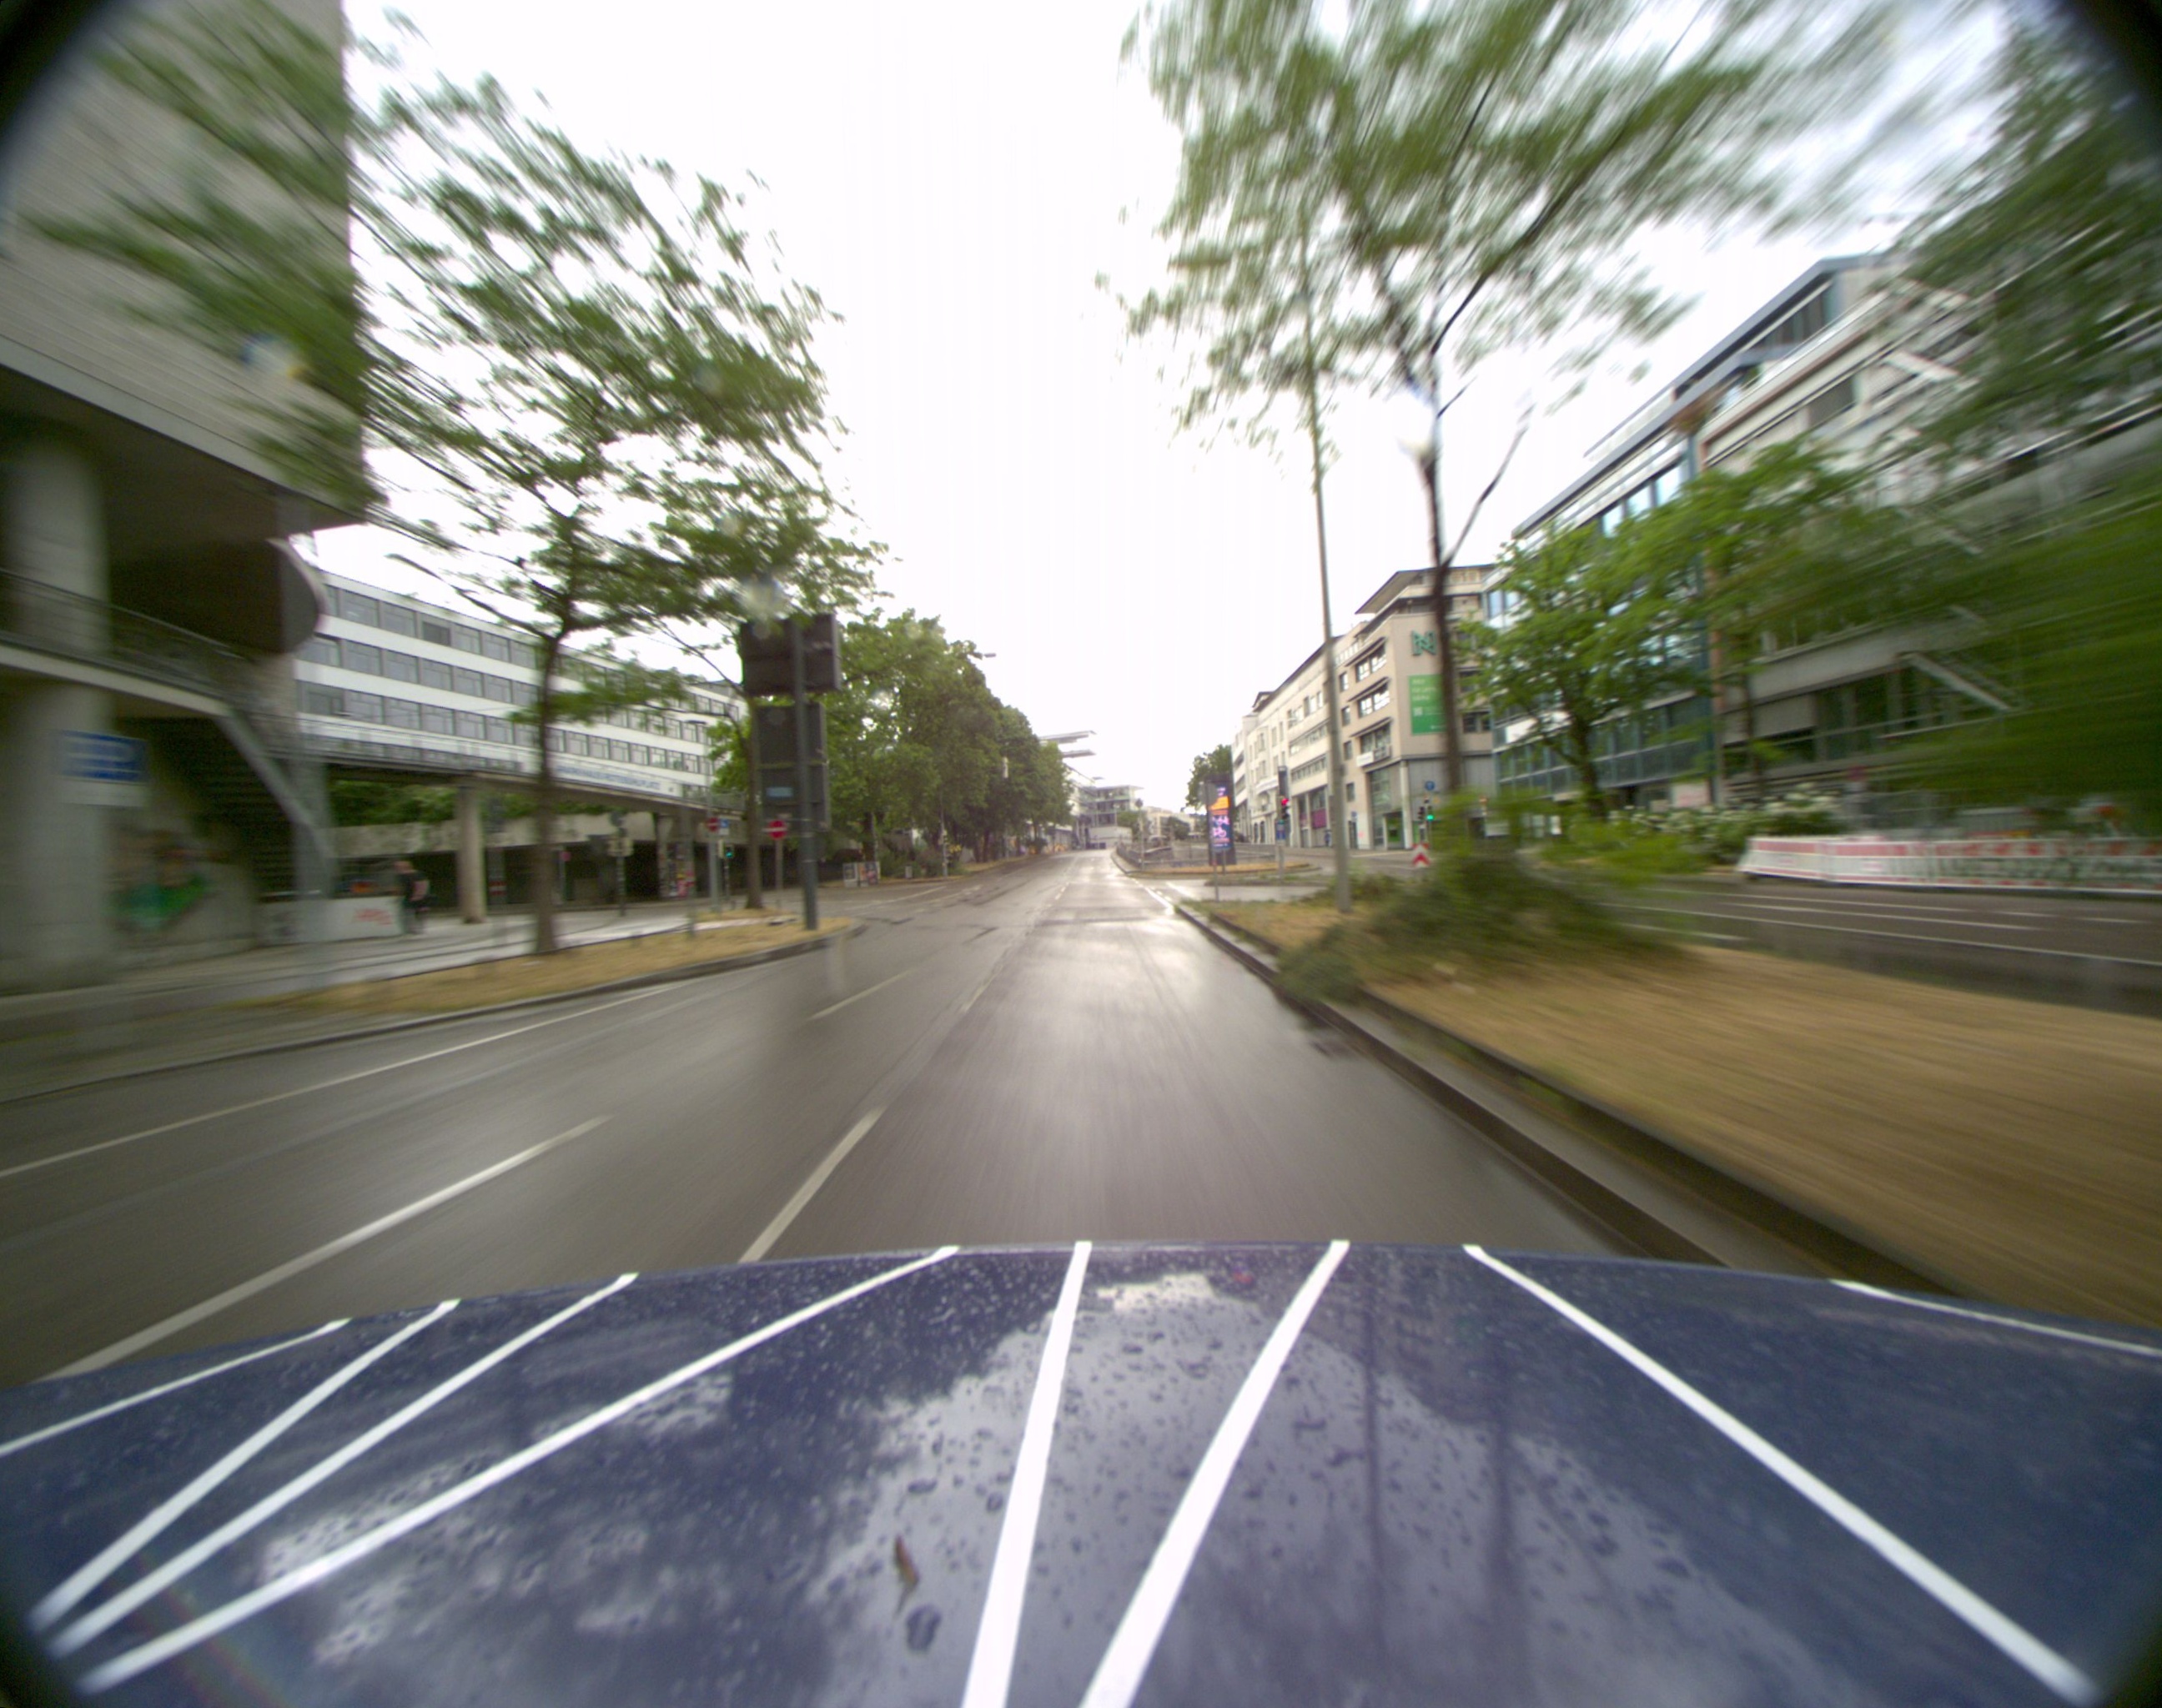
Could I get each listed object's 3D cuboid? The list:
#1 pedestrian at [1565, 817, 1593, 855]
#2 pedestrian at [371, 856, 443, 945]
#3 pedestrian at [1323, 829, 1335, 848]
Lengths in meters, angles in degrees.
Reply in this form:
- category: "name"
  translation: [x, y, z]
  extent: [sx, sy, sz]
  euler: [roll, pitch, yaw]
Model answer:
- category: "pedestrian"
  translation: [22.969, -0.829, 35.045]
  extent: [0.740, 1.704, 0.757]
  euler: [-3, 1, 1]
- category: "pedestrian"
  translation: [-15.766, 1.063, 17.788]
  extent: [0.871, 2.002, 0.758]
  euler: [-3, 1, 1]
- category: "pedestrian"
  translation: [22.189, -1.391, 68.047]
  extent: [0.695, 1.718, 0.803]
  euler: [-2, 1, -1]
